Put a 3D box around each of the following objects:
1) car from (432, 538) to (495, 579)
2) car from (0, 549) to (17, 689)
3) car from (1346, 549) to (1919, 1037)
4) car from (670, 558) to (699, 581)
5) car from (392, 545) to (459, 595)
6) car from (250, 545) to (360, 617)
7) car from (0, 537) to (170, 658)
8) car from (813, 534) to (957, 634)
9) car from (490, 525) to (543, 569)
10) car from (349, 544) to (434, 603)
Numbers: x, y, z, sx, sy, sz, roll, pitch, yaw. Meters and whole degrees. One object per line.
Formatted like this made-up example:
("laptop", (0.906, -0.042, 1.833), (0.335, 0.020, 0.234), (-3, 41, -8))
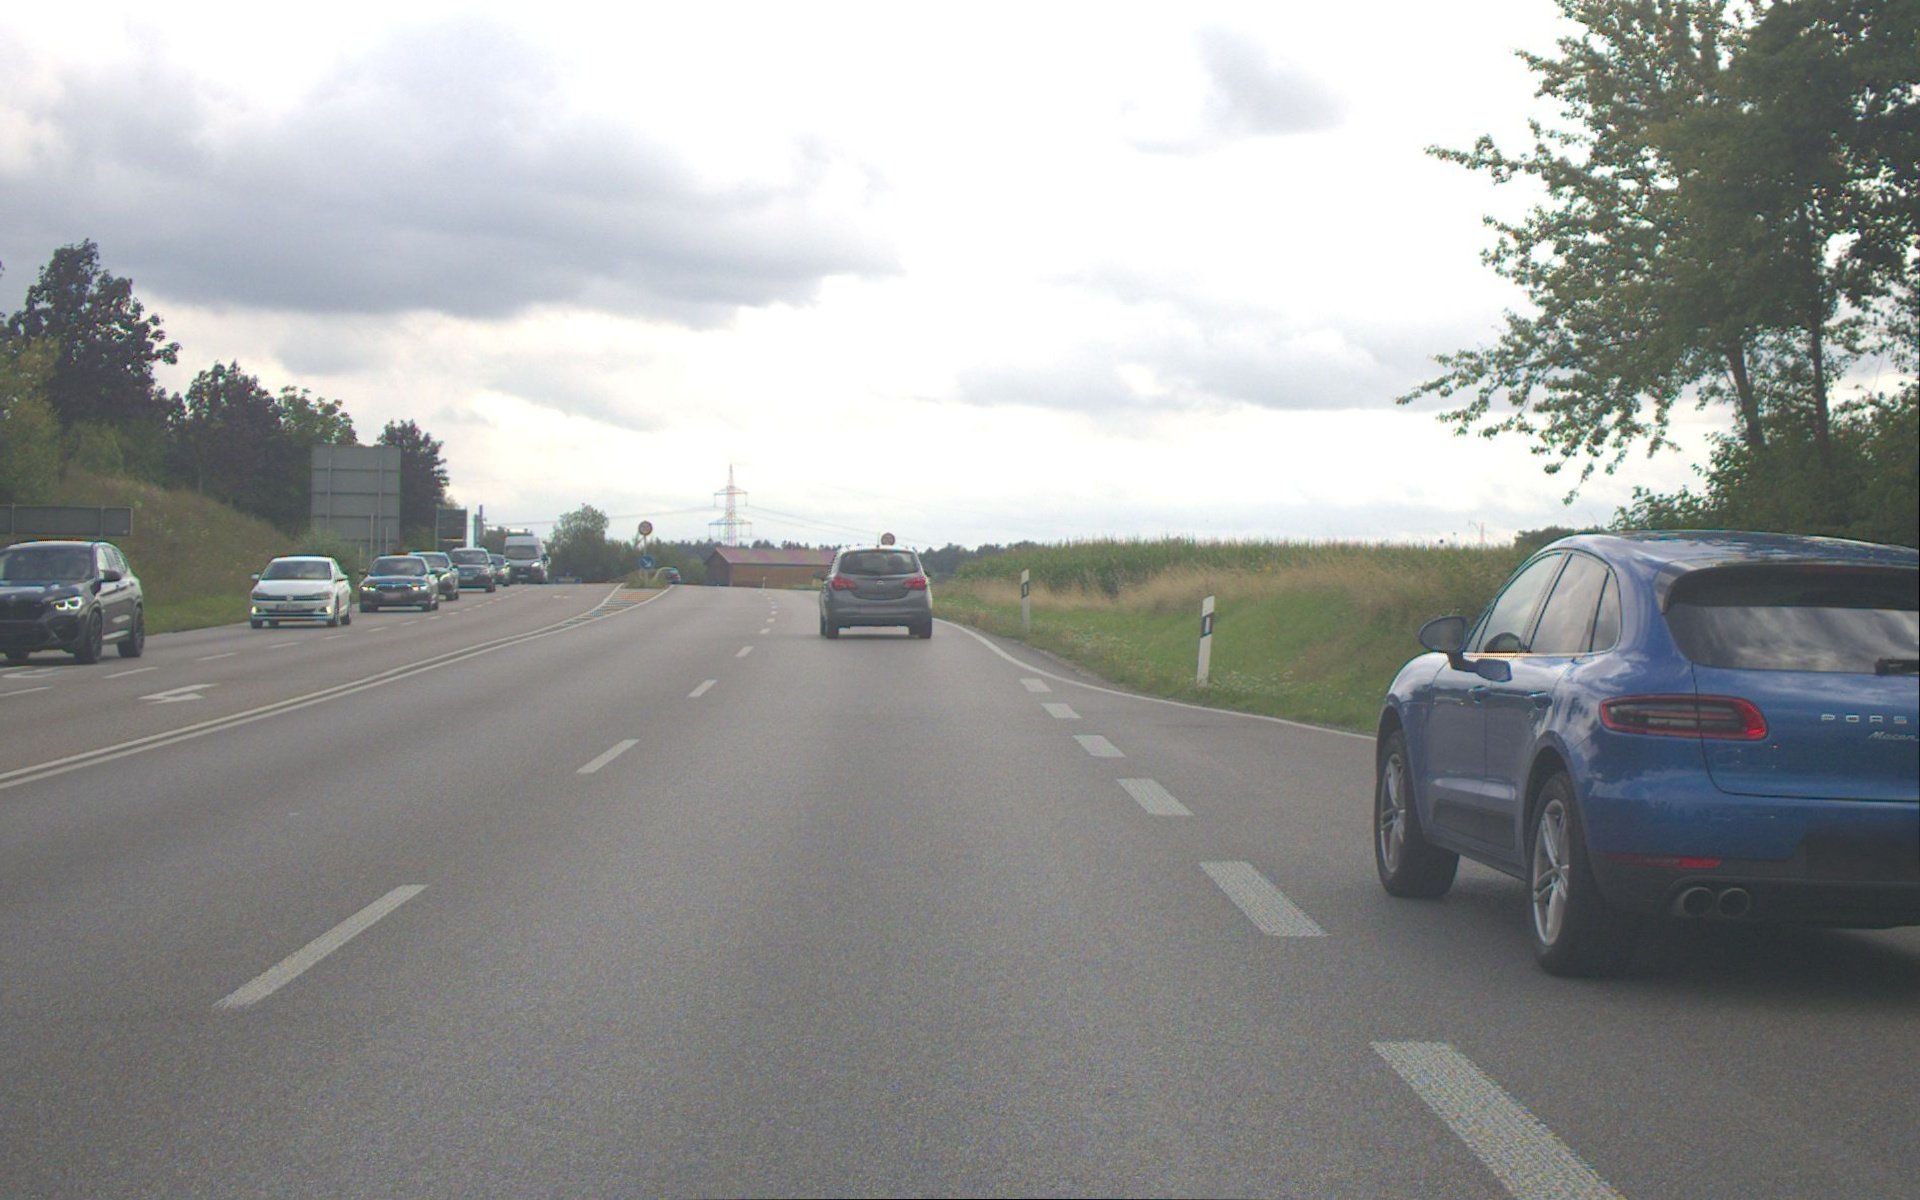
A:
("car", (-18.450, -1.545, 127.889), (1.993, 1.503, 4.001), (0, 1, -3))
("car", (-11.160, 0.237, 34.674), (1.993, 1.489, 4.993), (0, 1, -1))
("car", (2.949, 0.591, 13.579), (1.993, 1.565, 4.757), (0, 1, -4))
("car", (-20.381, -2.263, 254.328), (1.993, 1.709, 4.000), (0, 1, -2))
("car", (-16.514, -0.941, 106.310), (1.796, 1.481, 4.170), (0, 1, -5))
("car", (-13.447, -0.404, 70.709), (1.667, 1.437, 4.147), (0, 1, -3))
("car", (-12.499, -0.080, 48.126), (1.993, 1.605, 4.993), (0, 1, -3))
("car", (-1.249, -0.289, 55.661), (1.993, 1.530, 4.001), (1, 1, -6))
("car", (-22.772, -2.743, 176.562), (2.363, 2.204, 5.923), (0, 1, -4))
("car", (-14.740, -0.701, 89.287), (1.993, 1.503, 4.001), (0, 1, -7))
